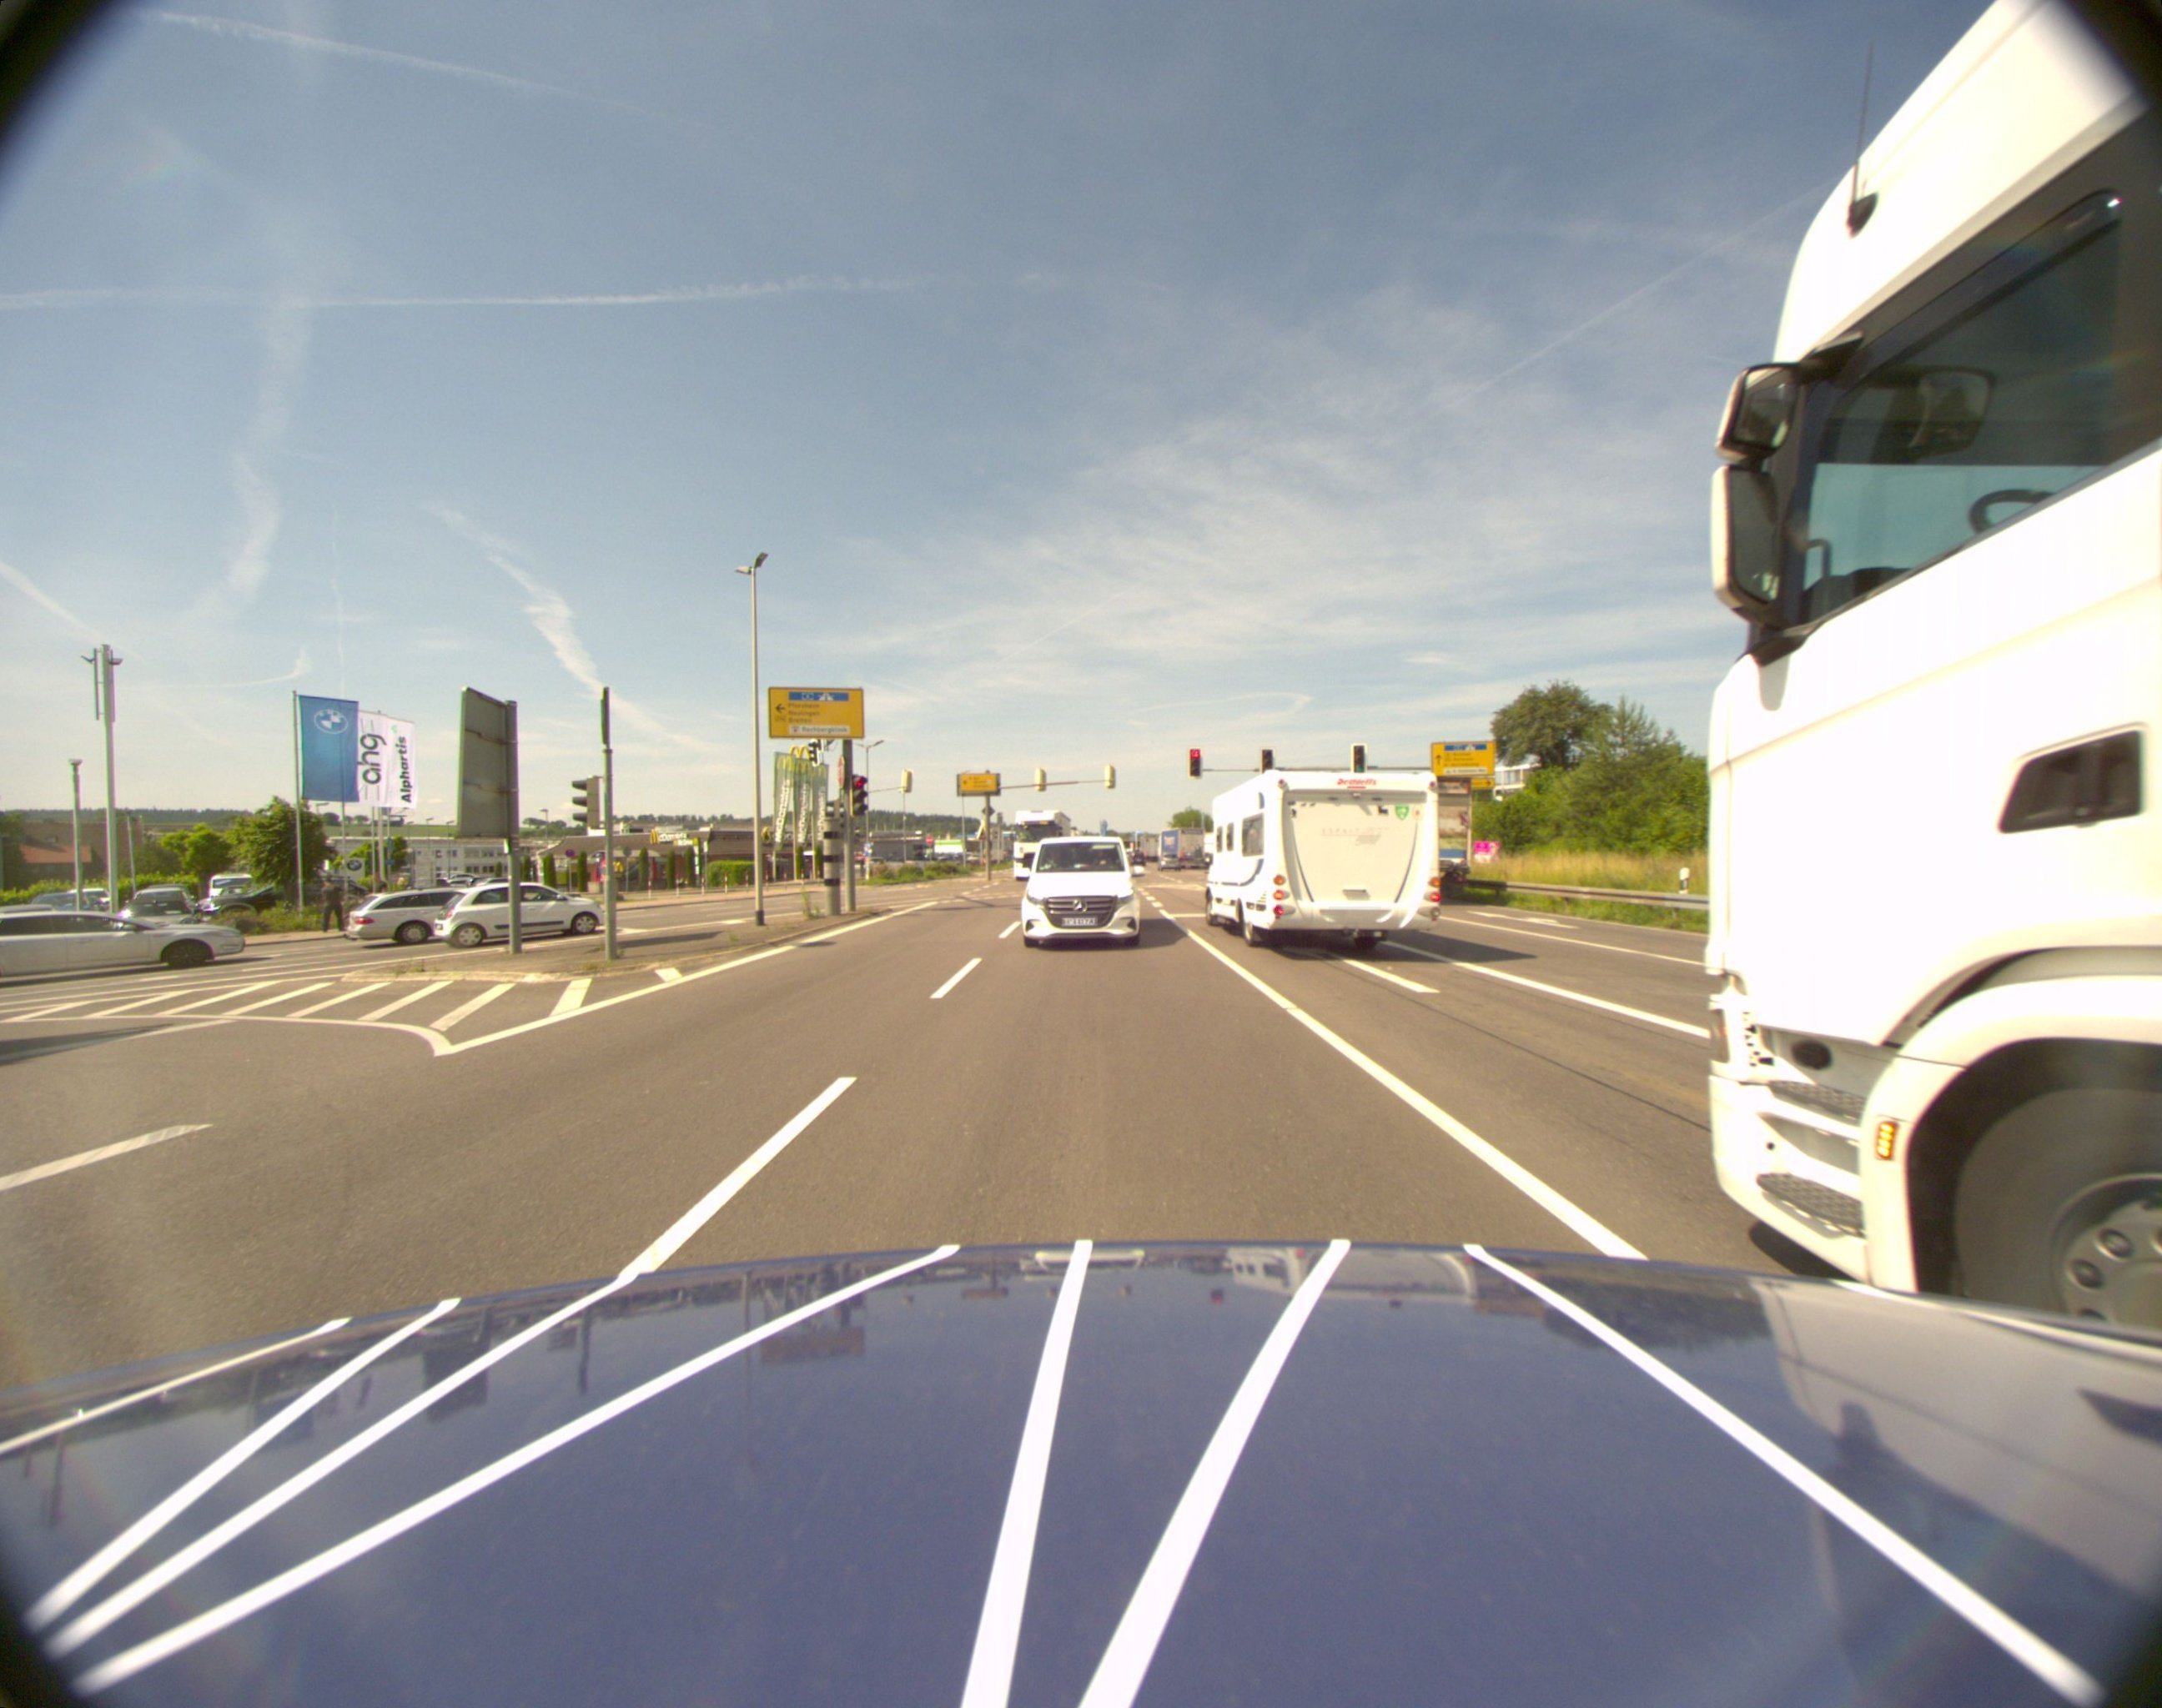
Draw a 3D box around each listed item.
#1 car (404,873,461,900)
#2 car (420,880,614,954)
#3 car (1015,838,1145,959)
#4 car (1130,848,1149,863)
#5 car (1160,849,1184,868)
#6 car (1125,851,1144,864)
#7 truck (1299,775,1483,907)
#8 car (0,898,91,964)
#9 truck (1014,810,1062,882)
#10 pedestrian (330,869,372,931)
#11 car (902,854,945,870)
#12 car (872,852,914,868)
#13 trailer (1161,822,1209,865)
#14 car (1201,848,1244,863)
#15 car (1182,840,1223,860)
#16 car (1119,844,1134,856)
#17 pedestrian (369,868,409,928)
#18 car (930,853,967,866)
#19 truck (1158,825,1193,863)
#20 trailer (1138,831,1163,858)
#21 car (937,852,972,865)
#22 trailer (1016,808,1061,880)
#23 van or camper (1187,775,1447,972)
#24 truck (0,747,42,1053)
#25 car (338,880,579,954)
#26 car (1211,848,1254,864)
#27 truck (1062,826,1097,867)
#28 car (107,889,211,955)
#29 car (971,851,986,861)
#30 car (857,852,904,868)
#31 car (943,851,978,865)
[{"bbox_3d":[-43.012,2.123,50.347,4.436,1.511,2.004,1,1,38],"label":"car"},{"bbox_3d":[-14.873,1.577,20.176,1.706,1.496,3.762,-1,2,41],"label":"car"},{"bbox_3d":[0.098,0.655,14.625,1.993,1.858,5.803,0,1,2],"label":"car"},{"bbox_3d":[6.667,0.155,87.034,1.998,1.716,4.000,0,1,2],"label":"car"},{"bbox_3d":[7.566,0.377,63.464,1.729,1.493,4.000,1,1,3],"label":"car"},{"bbox_3d":[6.724,0.431,95.776,1.998,1.476,4.453,0,1,0],"label":"car"},{"bbox_3d":[10.689,-0.442,27.668,2.736,3.976,9.618,0,1,0],"label":"truck"},{"bbox_3d":[-31.287,2.250,22.661,3.988,1.565,2.004,1,1,39],"label":"car"},{"bbox_3d":[-2.507,-0.477,44.899,2.648,3.964,6.039,0,1,-3],"label":"truck"},{"bbox_3d":[-24.413,1.504,25.401,0.662,2.002,0.880,0,2,38],"label":"pedestrian"},{"bbox_3d":[-16.703,0.814,80.871,1.855,1.567,4.242,1,1,38],"label":"car"},{"bbox_3d":[-20.416,0.655,82.643,1.771,1.661,4.179,1,1,38],"label":"car"},{"bbox_3d":[10.583,-1.052,79.110,3.101,4.056,14.124,0,1,0],"label":"trailer"},{"bbox_3d":[16.134,0.194,86.380,4.723,1.467,1.888,-4,2,-31],"label":"car"},{"bbox_3d":[17.796,-0.607,111.295,5.721,2.822,2.117,0,0,4],"label":"car"},{"bbox_3d":[6.570,-0.580,109.059,1.848,1.722,4.588,-2,0,0],"label":"car"},{"bbox_3d":[-23.813,1.499,26.149,0.662,2.002,0.880,0,2,38],"label":"pedestrian"},{"bbox_3d":[-15.728,0.597,90.661,1.744,1.483,4.273,1,1,38],"label":"car"},{"bbox_3d":[10.597,-1.106,86.005,3.196,4.056,6.345,0,1,0],"label":"truck"},{"bbox_3d":[11.246,-1.556,124.103,2.698,4.124,13.877,0,1,0],"label":"trailer"},{"bbox_3d":[-16.433,0.573,98.557,4.007,1.661,1.915,0,1,-34],"label":"car"},{"bbox_3d":[-2.717,-0.654,50.422,2.614,4.203,11.288,0,1,-2],"label":"trailer"},{"bbox_3d":[3.600,0.230,13.499,2.336,2.585,6.977,0,1,-1],"label":"van or camper"},{"bbox_3d":[-16.690,0.865,6.248,9.706,3.608,2.763,-5,2,-16],"label":"truck"},{"bbox_3d":[-17.715,1.680,21.859,1.994,1.496,5.009,-2,2,41],"label":"car"},{"bbox_3d":[16.740,0.214,83.798,4.724,1.504,1.950,-4,2,-38],"label":"car"},{"bbox_3d":[-0.064,-0.757,79.001,2.646,3.964,9.242,0,1,6],"label":"truck"},{"bbox_3d":[-29.761,2.101,24.550,3.988,1.714,2.004,1,1,39],"label":"car"},{"bbox_3d":[-17.031,0.299,126.100,1.907,1.645,4.709,0,1,-1],"label":"car"},{"bbox_3d":[-22.375,0.619,84.888,1.907,1.661,4.828,1,1,38],"label":"car"},{"bbox_3d":[-15.304,0.524,96.436,4.030,1.661,1.772,0,1,-25],"label":"car"}]
